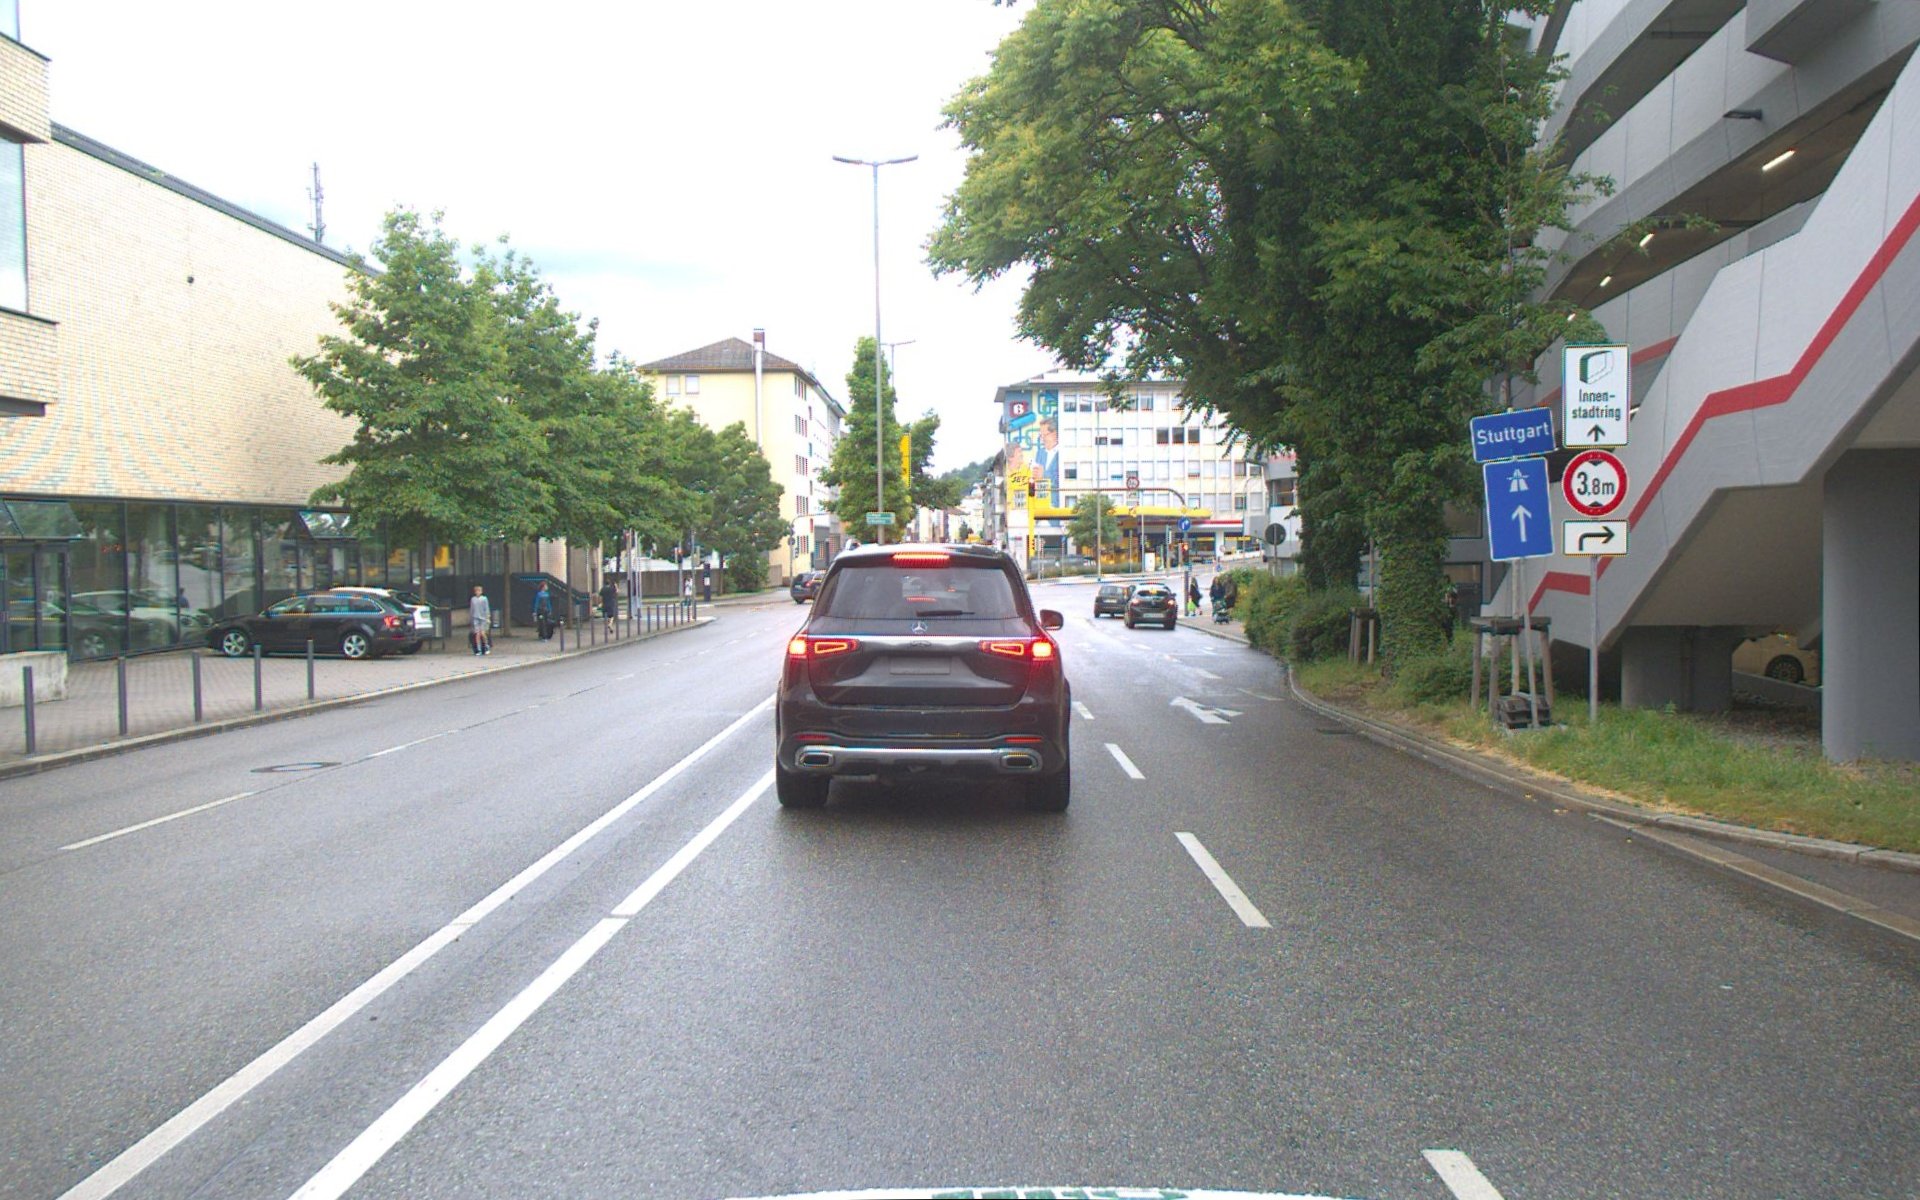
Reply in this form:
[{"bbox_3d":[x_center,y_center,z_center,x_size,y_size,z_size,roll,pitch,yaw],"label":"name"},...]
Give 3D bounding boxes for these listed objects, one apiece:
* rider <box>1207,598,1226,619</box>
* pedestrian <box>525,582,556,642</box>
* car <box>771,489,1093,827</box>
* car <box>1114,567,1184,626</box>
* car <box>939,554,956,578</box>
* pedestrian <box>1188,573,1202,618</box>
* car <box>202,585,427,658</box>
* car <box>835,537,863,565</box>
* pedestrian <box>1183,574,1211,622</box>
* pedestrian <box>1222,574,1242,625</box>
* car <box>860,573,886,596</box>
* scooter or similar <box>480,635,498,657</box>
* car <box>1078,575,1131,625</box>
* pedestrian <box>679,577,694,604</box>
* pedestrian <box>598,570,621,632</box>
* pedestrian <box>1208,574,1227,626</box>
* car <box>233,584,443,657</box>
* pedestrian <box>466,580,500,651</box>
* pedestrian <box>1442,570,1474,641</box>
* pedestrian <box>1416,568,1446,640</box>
[{"bbox_3d":[9.530,0.310,61.520,0.679,0.753,0.633,1,0,8],"label":"rider"},{"bbox_3d":[-12.511,0.355,49.328,0.674,1.756,0.754,1,-3,-1],"label":"pedestrian"},{"bbox_3d":[-0.201,0.370,12.228,1.953,2.049,3.999,1,0,-1],"label":"car"},{"bbox_3d":[6.812,-0.157,60.032,1.953,2.049,3.999,0,1,-2],"label":"car"},{"bbox_3d":[-1.490,-4.060,196.382,1.953,2.045,4.007,1,11,-1],"label":"car"},{"bbox_3d":[10.310,-0.207,72.453,0.509,1.944,0.556,1,-1,0],"label":"pedestrian"},{"bbox_3d":[-14.648,0.477,37.760,4.382,1.615,1.997,0,0,-6],"label":"car"},{"bbox_3d":[-8.525,-3.764,127.509,1.953,1.908,5.140,1,0,-1],"label":"car"},{"bbox_3d":[10.251,-0.078,71.614,1.004,2.049,0.999,1,0,-1],"label":"pedestrian"},{"bbox_3d":[10.526,-0.010,64.034,0.607,1.969,0.610,1,-1,-1],"label":"pedestrian"},{"bbox_3d":[-7.939,-1.415,150.750,1.957,2.049,3.991,1,0,-10],"label":"car"},{"bbox_3d":[-11.611,1.132,40.757,0.274,0.509,0.616,1,0,-2],"label":"scooter or similar"},{"bbox_3d":[6.249,0.011,71.934,1.952,2.049,4.000,1,0,1],"label":"car"},{"bbox_3d":[-14.951,-0.508,90.412,0.697,1.487,0.598,1,-1,-1],"label":"pedestrian"},{"bbox_3d":[-11.724,0.028,55.367,0.576,2.049,0.749,1,-1,-2],"label":"pedestrian"},{"bbox_3d":[9.684,0.003,62.281,0.648,1.951,0.729,1,-1,8],"label":"pedestrian"},{"bbox_3d":[-14.878,0.483,39.772,4.330,1.601,1.998,1,2,-5],"label":"car"},{"bbox_3d":[-11.643,0.374,40.378,0.662,1.727,0.479,1,0,0],"label":"pedestrian"},{"bbox_3d":[10.967,0.120,36.424,0.569,1.527,0.504,1,-1,5],"label":"pedestrian"},{"bbox_3d":[10.395,0.085,36.534,0.539,1.559,0.488,1,-1,6],"label":"pedestrian"}]
